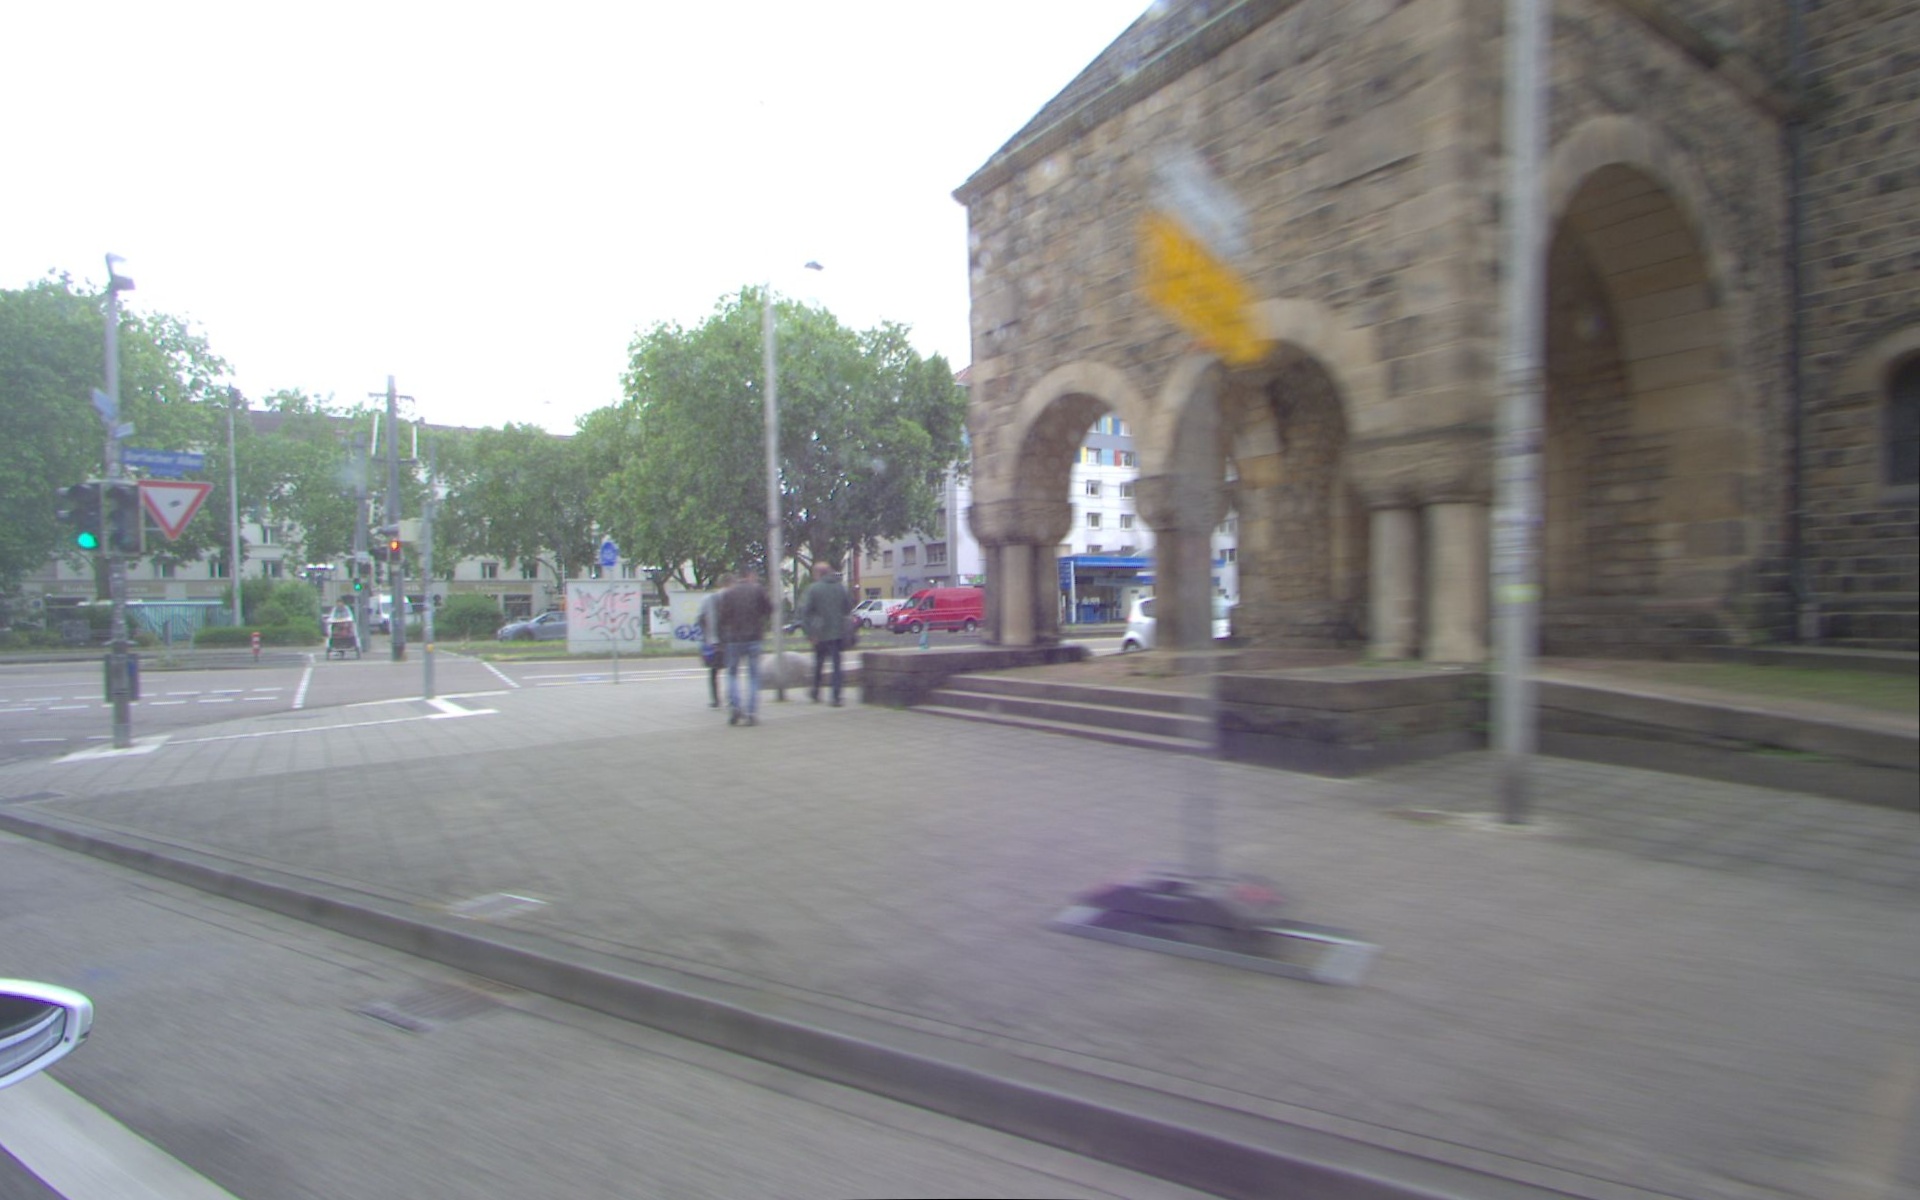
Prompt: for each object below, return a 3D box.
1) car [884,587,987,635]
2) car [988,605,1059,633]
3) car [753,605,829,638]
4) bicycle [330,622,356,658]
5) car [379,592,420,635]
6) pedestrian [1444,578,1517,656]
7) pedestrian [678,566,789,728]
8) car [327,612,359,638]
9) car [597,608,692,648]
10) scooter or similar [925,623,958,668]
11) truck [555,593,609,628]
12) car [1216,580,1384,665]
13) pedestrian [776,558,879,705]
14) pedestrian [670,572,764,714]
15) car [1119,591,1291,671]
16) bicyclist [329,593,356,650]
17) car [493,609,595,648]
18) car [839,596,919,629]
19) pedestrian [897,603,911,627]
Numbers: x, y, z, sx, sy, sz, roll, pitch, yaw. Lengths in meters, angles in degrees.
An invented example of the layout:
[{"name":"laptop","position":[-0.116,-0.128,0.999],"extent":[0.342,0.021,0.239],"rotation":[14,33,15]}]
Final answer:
[{"name":"car","position":[-1.309,0.583,55.877],"extent":[5.537,2.572,1.980],"rotation":[-1,0,-35]},{"name":"car","position":[3.787,1.130,59.685],"extent":[4.095,1.550,1.676],"rotation":[-1,0,-35]},{"name":"car","position":[-8.588,1.086,51.003],"extent":[3.422,1.582,1.676],"rotation":[-1,0,-35]},{"name":"bicycle","position":[-18.296,1.168,29.669],"extent":[0.546,1.009,2.047],"rotation":[-1,0,-34]},{"name":"car","position":[-37.154,0.875,66.348],"extent":[2.211,2.674,5.417],"rotation":[-1,0,-31]},{"name":"pedestrian","position":[6.736,0.213,12.967],"extent":[0.665,0.964,0.611],"rotation":[-1,1,-35]},{"name":"pedestrian","position":[-2.508,0.494,11.119],"extent":[0.955,1.709,0.672],"rotation":[0,3,33]},{"name":"car","position":[-39.185,1.562,63.619],"extent":[1.646,1.535,3.916],"rotation":[-1,0,-31]},{"name":"car","position":[-14.751,1.302,46.882],"extent":[3.898,1.734,1.676],"rotation":[-1,0,-35]},{"name":"scooter or similar","position":[-0.451,1.108,24.466],"extent":[0.762,1.067,0.238],"rotation":[-1,1,-32]},{"name":"truck","position":[-29.471,0.792,77.999],"extent":[3.955,2.625,2.367],"rotation":[-1,0,42]},{"name":"car","position":[7.833,0.492,23.319],"extent":[1.663,1.816,3.448],"rotation":[-1,0,-31]},{"name":"pedestrian","position":[-1.682,0.378,12.749],"extent":[0.955,1.783,0.802],"rotation":[0,3,33]},{"name":"pedestrian","position":[-3.032,0.513,12.503],"extent":[0.957,1.696,0.630],"rotation":[0,3,39]},{"name":"car","position":[5.141,0.635,21.383],"extent":[1.595,1.550,3.448],"rotation":[-1,0,-31]},{"name":"bicyclist","position":[-18.286,0.633,29.669],"extent":[0.608,1.676,0.749],"rotation":[-1,1,-36]},{"name":"car","position":[-18.542,1.236,44.651],"extent":[3.937,1.582,1.676],"rotation":[-1,0,-35]},{"name":"car","position":[-5.422,0.817,67.258],"extent":[5.021,2.124,1.980],"rotation":[-1,0,-35]},{"name":"pedestrian","position":[-3.612,0.968,64.673],"extent":[0.564,1.591,0.705],"rotation":[-1,0,-34]}]
